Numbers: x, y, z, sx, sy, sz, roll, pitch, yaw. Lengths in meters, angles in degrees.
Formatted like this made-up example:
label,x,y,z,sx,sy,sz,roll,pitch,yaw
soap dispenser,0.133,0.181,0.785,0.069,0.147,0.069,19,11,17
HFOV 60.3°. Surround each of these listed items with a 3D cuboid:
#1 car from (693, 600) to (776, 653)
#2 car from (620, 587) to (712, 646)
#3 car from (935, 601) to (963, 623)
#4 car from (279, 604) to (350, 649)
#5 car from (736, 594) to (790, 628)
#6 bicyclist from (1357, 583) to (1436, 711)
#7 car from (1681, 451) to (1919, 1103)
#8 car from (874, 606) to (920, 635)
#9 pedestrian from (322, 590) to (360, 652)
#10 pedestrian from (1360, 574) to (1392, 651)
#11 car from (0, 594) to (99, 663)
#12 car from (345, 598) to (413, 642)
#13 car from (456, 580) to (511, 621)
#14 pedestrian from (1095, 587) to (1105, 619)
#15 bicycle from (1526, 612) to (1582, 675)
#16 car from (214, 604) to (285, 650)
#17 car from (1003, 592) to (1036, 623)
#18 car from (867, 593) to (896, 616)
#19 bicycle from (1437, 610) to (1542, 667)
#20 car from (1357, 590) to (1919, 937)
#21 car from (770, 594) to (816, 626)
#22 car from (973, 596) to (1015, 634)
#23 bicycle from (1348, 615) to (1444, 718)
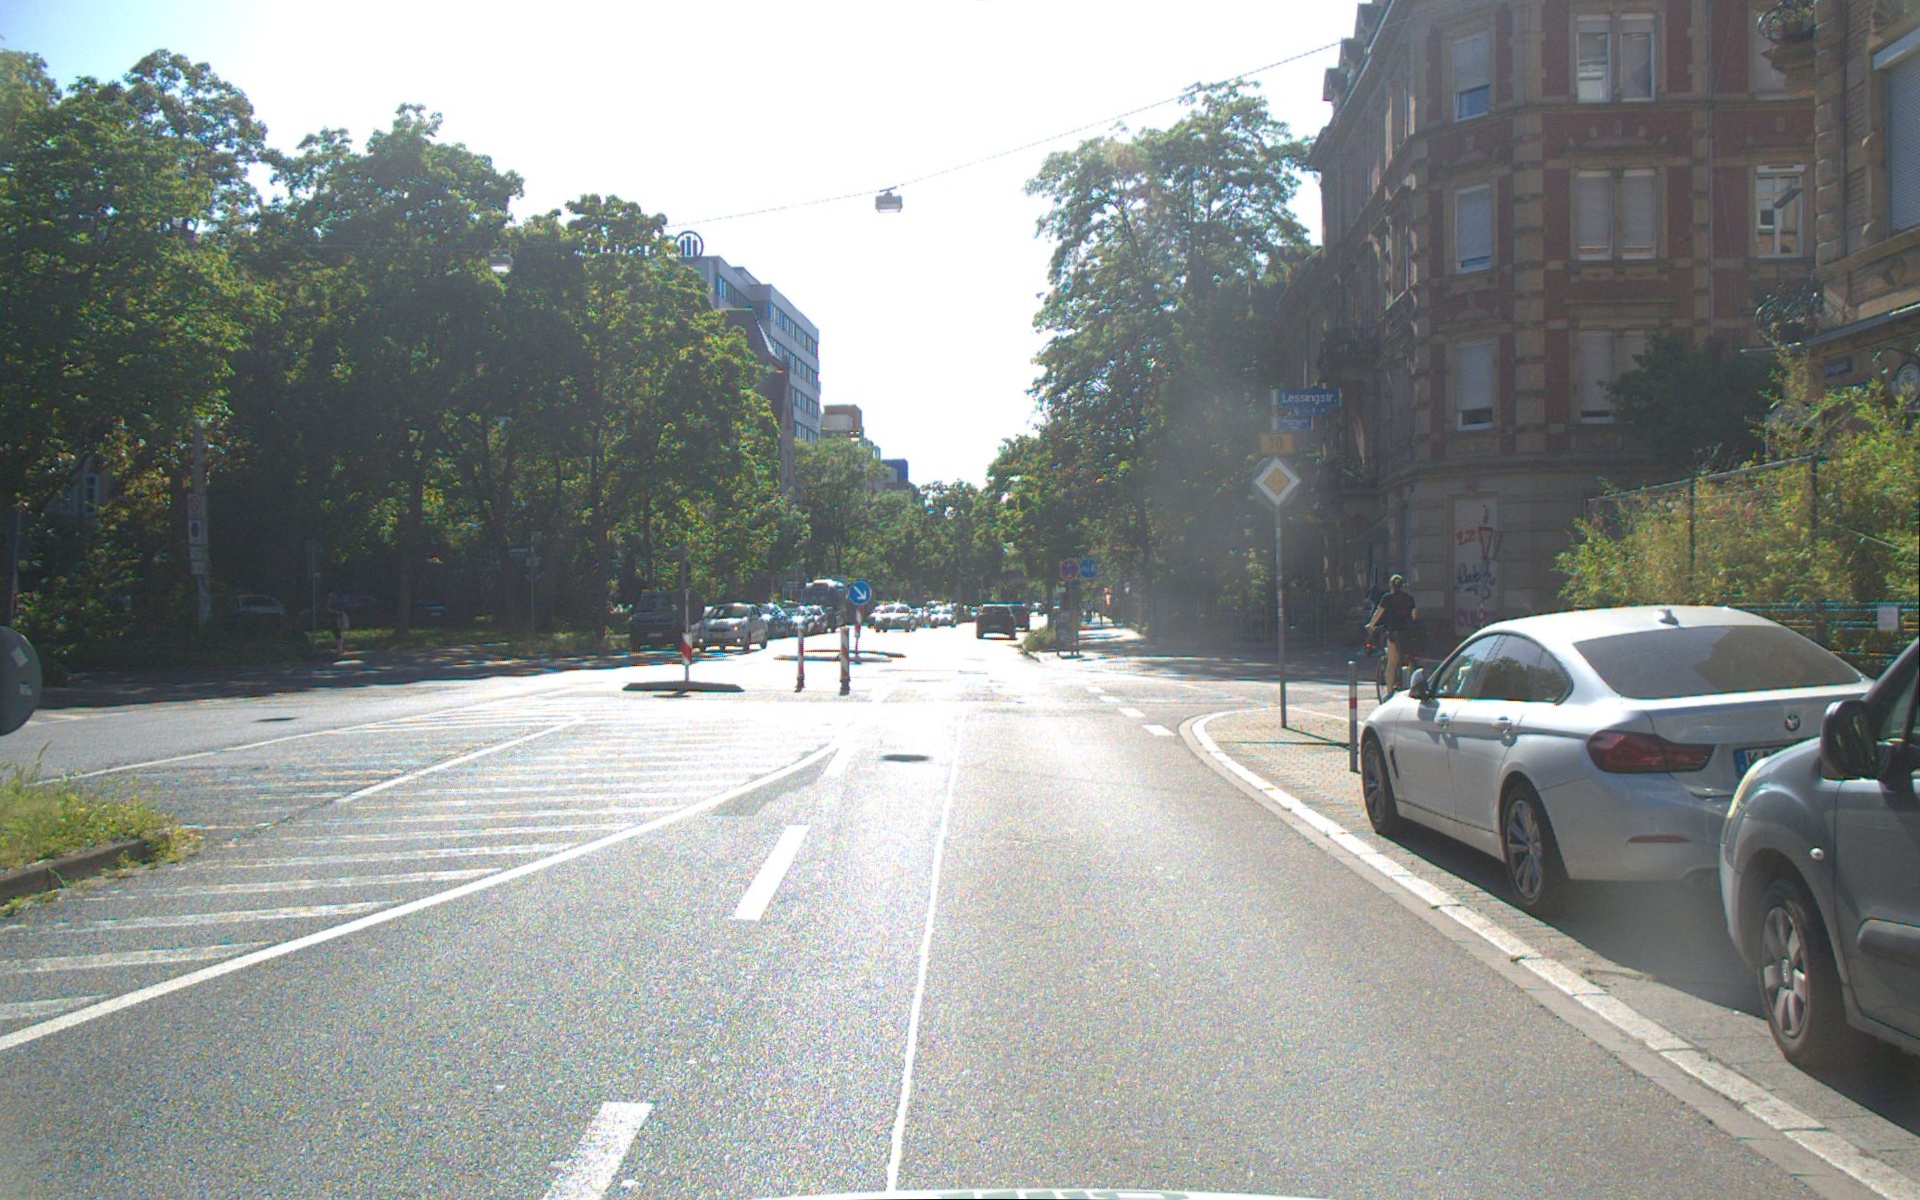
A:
label,x,y,z,sx,sy,sz,roll,pitch,yaw
car,-7.221,0.833,53.295,1.721,1.545,3.862,-1,1,7
car,-10.115,0.547,57.282,2.153,1.963,4.863,0,0,2
car,-0.782,0.838,120.875,1.603,1.545,4.033,0,0,7
car,-25.787,1.027,66.000,1.956,1.691,3.957,-1,0,-32
car,-8.758,0.481,73.771,1.491,1.457,3.556,0,0,8
bicyclist,5.687,0.591,21.610,0.726,1.607,1.100,1,1,1
car,3.633,0.507,4.204,1.781,1.876,4.365,-1,0,1
car,-3.312,1.073,87.487,1.746,1.486,4.418,0,-1,7
pedestrian,-16.819,0.557,44.932,0.656,1.655,0.713,0,0,33
pedestrian,10.097,0.307,40.196,0.642,1.848,0.752,1,-3,4
car,-24.635,0.770,43.549,1.808,1.683,3.999,1,-3,0
car,-23.756,0.792,67.537,1.954,1.691,3.959,-1,0,-30
car,-20.406,0.013,70.760,1.946,1.691,3.976,0,0,-21
pedestrian,9.128,0.195,107.993,0.602,2.049,0.681,0,0,0
bicycle,12.028,0.871,33.558,0.566,1.113,1.973,1,3,5
car,-28.195,1.038,65.595,1.957,1.691,3.954,-1,0,-33
car,3.458,0.411,95.551,1.781,1.771,4.002,0,0,4
car,-5.302,0.321,111.830,1.764,1.530,3.808,0,0,1
bicycle,10.701,0.753,33.477,0.690,1.114,1.939,0,0,-44
car,3.550,0.693,9.240,1.674,1.450,4.206,-2,0,1
car,-7.924,0.467,78.538,1.491,1.457,3.339,0,0,7
car,1.545,0.672,76.087,1.856,1.545,4.000,2,1,0
bicycle,5.681,0.845,21.667,0.725,1.240,1.960,-2,0,1
